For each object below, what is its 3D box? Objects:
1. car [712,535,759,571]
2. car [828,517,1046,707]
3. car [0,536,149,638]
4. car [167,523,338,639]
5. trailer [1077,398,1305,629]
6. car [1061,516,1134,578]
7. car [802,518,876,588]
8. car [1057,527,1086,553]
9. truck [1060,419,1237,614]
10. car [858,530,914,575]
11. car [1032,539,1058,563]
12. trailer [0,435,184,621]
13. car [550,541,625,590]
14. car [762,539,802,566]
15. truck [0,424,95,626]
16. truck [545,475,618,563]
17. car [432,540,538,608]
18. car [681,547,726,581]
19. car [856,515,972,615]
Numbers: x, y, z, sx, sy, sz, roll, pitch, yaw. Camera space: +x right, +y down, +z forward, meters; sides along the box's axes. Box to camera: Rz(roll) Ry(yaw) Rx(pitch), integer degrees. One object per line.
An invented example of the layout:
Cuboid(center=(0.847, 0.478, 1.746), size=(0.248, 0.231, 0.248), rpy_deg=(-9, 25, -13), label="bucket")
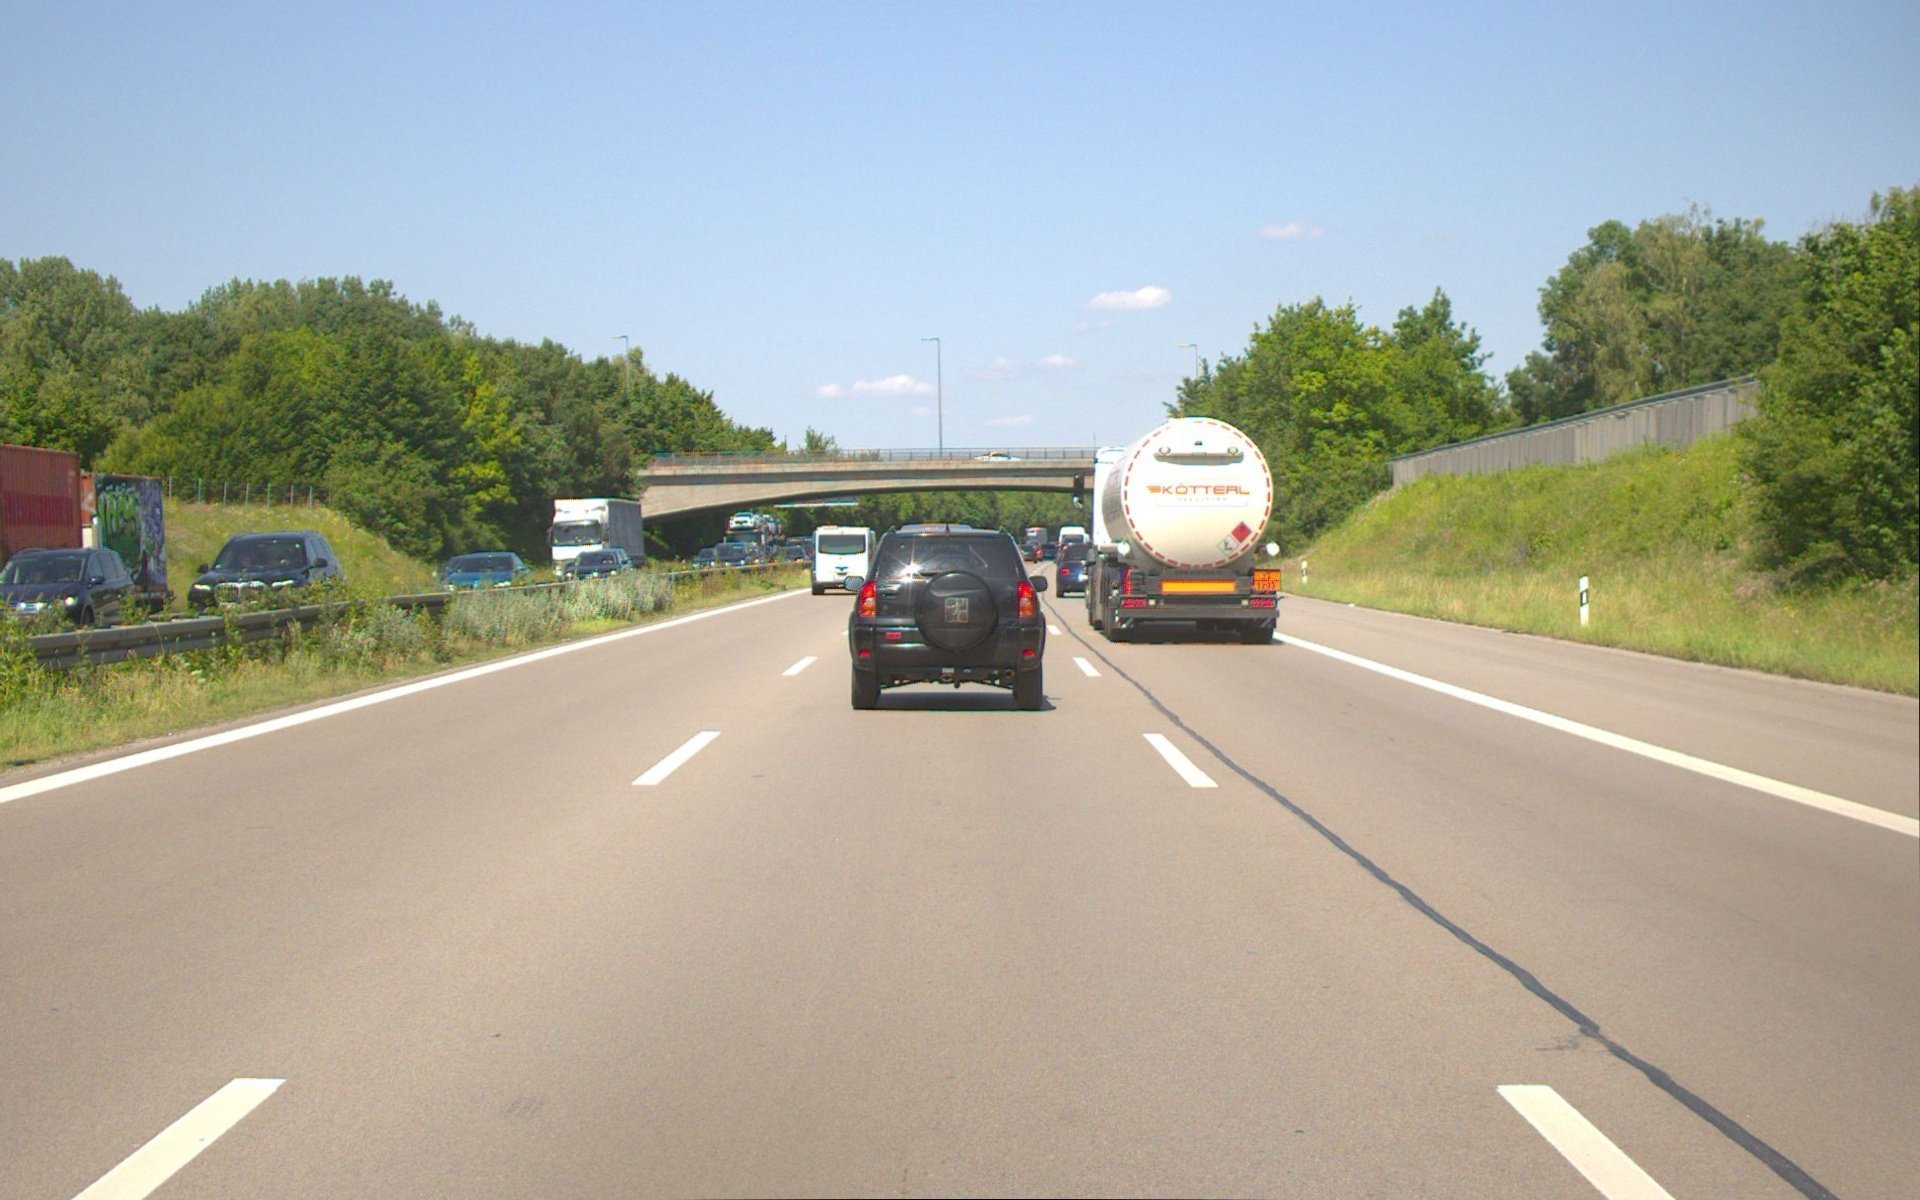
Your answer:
Cuboid(center=(-10.346, -2.169, 158.804), size=(1.858, 1.595, 4.721), rpy_deg=(-1, 1, 0), label="car")
Cuboid(center=(-0.180, 0.076, 32.370), size=(1.906, 1.659, 4.000), rpy_deg=(-1, 1, 1), label="car")
Cuboid(center=(-15.603, -0.259, 59.926), size=(1.993, 1.684, 4.266), rpy_deg=(-1, 1, -1), label="car")
Cuboid(center=(-12.026, -0.362, 58.757), size=(1.993, 1.859, 4.899), rpy_deg=(-1, 1, -1), label="car")
Cuboid(center=(3.585, -1.363, 56.024), size=(2.648, 3.378, 11.153), rpy_deg=(0, 1, -2), label="trailer")
Cuboid(center=(3.895, -1.491, 98.147), size=(1.993, 1.678, 4.000), rpy_deg=(-1, 0, 1), label="car")
Cuboid(center=(-3.602, -1.400, 102.738), size=(1.993, 2.007, 4.950), rpy_deg=(-1, 1, 0), label="car")
Cuboid(center=(7.448, -4.036, 230.673), size=(1.812, 1.740, 4.000), rpy_deg=(-1, 1, 0), label="car")
Cuboid(center=(3.368, -1.497, 62.926), size=(2.637, 3.363, 6.488), rpy_deg=(0, 1, -2), label="truck")
Cuboid(center=(-2.685, -1.721, 125.387), size=(1.993, 1.547, 4.000), rpy_deg=(-1, 0, -1), label="car")
Cuboid(center=(6.338, -3.658, 255.767), size=(1.812, 1.740, 4.000), rpy_deg=(-1, 1, 0), label="car")
Cuboid(center=(-19.230, -1.540, 74.791), size=(2.679, 3.756, 8.407), rpy_deg=(-2, 1, 0), label="trailer")
Cuboid(center=(-12.152, -1.146, 112.370), size=(1.895, 1.422, 4.764), rpy_deg=(-3, 1, 0), label="car")
Cuboid(center=(-9.736, -2.635, 188.462), size=(1.874, 1.434, 5.018), rpy_deg=(-1, 1, 1), label="car")
Cuboid(center=(-19.241, -1.393, 65.881), size=(2.679, 3.756, 9.919), rpy_deg=(-2, 1, 0), label="truck")
Cuboid(center=(-18.160, -3.868, 165.256), size=(2.672, 4.064, 6.076), rpy_deg=(-2, 1, 0), label="truck")
Cuboid(center=(-11.530, -0.648, 83.692), size=(1.833, 1.560, 4.956), rpy_deg=(-1, 1, 0), label="car")
Cuboid(center=(-13.725, -1.949, 184.265), size=(1.993, 1.773, 4.261), rpy_deg=(-1, 1, 1), label="car")
Cuboid(center=(-0.830, -0.634, 62.389), size=(1.993, 1.700, 4.336), rpy_deg=(-1, 1, -1), label="car")
